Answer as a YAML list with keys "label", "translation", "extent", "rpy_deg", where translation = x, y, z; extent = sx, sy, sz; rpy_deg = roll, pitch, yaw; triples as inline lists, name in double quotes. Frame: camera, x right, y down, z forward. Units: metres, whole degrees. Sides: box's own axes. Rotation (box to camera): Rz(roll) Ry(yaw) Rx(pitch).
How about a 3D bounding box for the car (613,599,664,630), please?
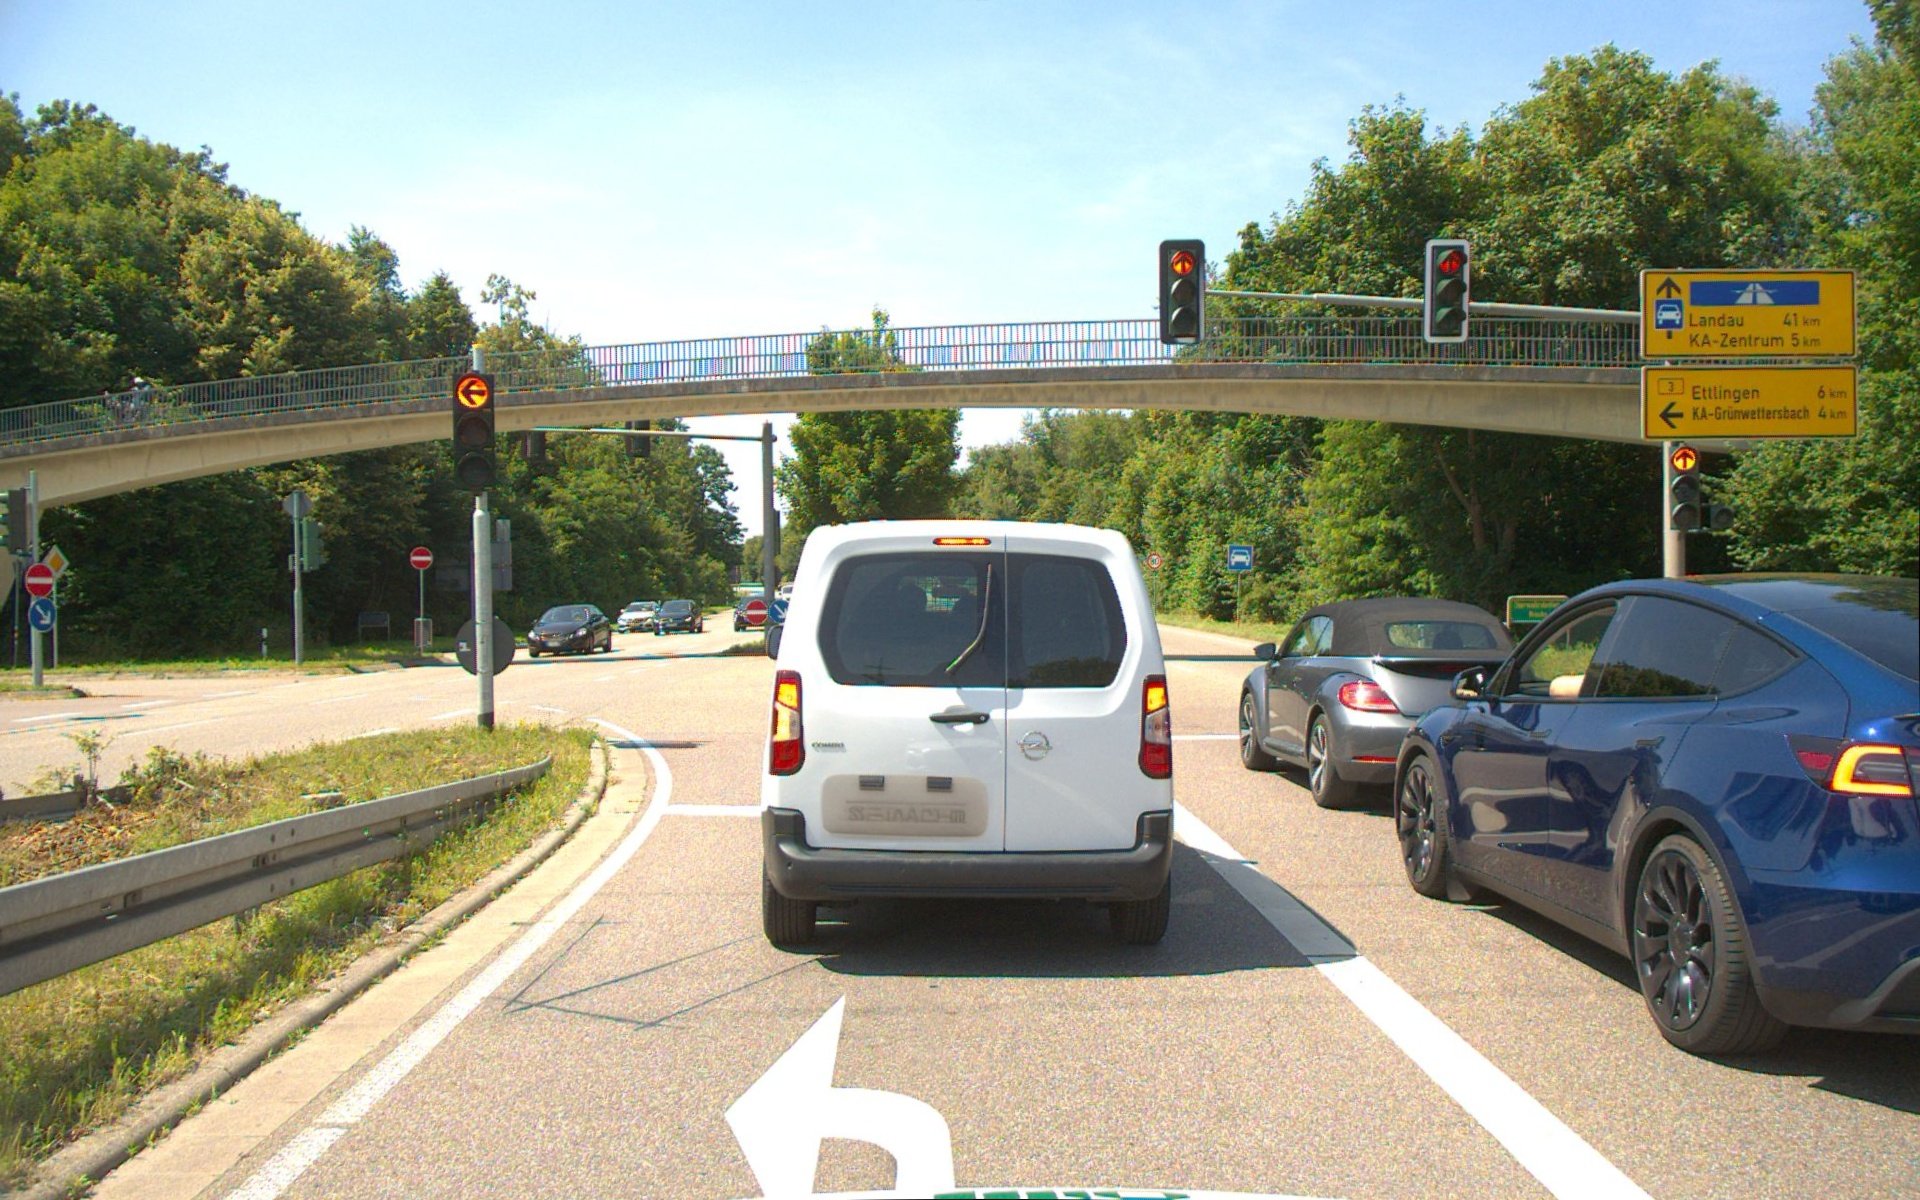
- label: "car"
  translation: [-15.647, 0.686, 80.713]
  extent: [1.717, 1.431, 3.999]
  rpy_deg: [-1, 0, -1]

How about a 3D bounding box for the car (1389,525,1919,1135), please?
- label: "car"
  translation: [3.324, 0.628, 6.818]
  extent: [1.862, 1.673, 4.519]
  rpy_deg: [1, 0, -1]

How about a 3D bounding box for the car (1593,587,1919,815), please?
- label: "car"
  translation: [6.829, 0.662, 13.130]
  extent: [1.862, 1.503, 4.379]
  rpy_deg: [1, 0, -1]

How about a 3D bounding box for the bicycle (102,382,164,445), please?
- label: "bicycle"
  translation: [-21.705, -4.884, 43.389]
  extent: [1.494, 1.500, 0.470]
  rpy_deg: [-3, -2, 15]

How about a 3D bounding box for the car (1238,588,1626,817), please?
- label: "car"
  translation: [3.490, 0.674, 13.024]
  extent: [1.862, 1.503, 3.938]
  rpy_deg: [1, 0, -1]

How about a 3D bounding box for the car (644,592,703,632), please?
- label: "car"
  translation: [-12.667, 0.511, 73.289]
  extent: [1.953, 1.694, 3.999]
  rpy_deg: [-1, 0, -1]

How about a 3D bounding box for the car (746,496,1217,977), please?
- label: "car"
  translation: [0.030, 0.504, 8.432]
  extent: [1.812, 1.857, 3.980]
  rpy_deg: [1, 1, -2]

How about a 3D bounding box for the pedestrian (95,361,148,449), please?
- label: "pedestrian"
  translation: [-22.215, -5.151, 43.826]
  extent: [0.765, 2.177, 0.932]
  rpy_deg: [-3, -2, 15]

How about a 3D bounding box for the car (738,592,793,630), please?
- label: "car"
  translation: [-8.507, 0.482, 72.793]
  extent: [1.953, 1.550, 4.027]
  rpy_deg: [2, 0, -1]

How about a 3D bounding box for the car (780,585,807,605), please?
- label: "car"
  translation: [-14.002, -0.429, 139.375]
  extent: [1.953, 1.694, 3.999]
  rpy_deg: [-1, 0, -1]

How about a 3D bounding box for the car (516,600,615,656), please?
- label: "car"
  translation: [-11.571, 0.801, 48.799]
  extent: [1.967, 1.486, 4.054]
  rpy_deg: [-2, 0, -1]
